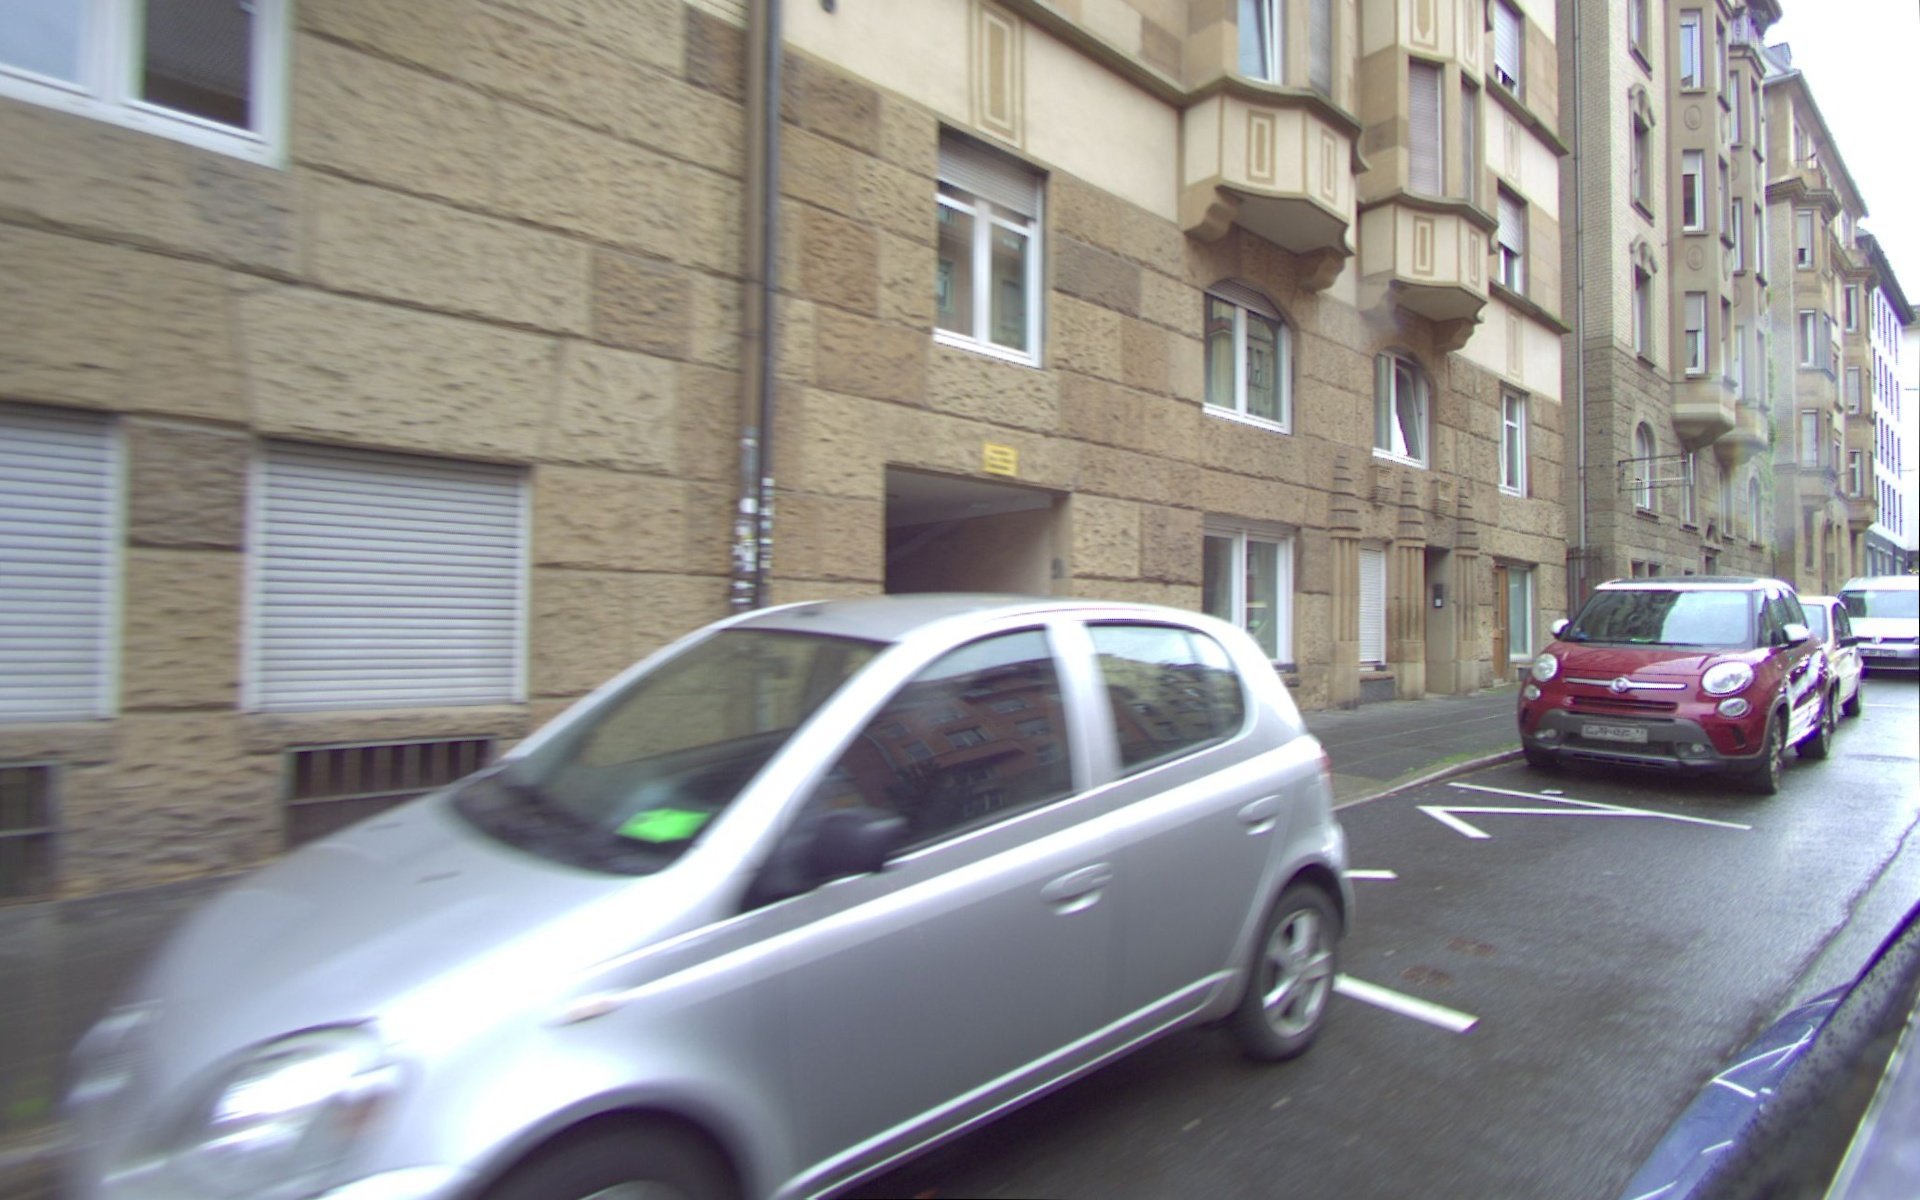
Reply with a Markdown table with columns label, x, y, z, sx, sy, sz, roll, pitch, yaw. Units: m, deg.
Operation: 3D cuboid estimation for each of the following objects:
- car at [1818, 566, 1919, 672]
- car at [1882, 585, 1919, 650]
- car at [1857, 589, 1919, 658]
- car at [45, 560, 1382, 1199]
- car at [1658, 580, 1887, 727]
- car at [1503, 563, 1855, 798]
| label | x | y | z | sx | sy | sz | roll | pitch | yaw |
| --- | --- | --- | --- | --- | --- | --- | --- | --- | --- |
| car | 17.406 | 0.312 | 18.688 | 3.893 | 1.791 | 1.809 | -1 | 0 | -41 |
| car | 24.591 | 0.384 | 25.204 | 3.988 | 1.544 | 1.933 | -1 | -1 | -41 |
| car | 21.181 | 0.469 | 22.044 | 3.912 | 1.406 | 1.929 | -1 | -1 | -41 |
| car | -0.349 | 0.684 | 3.009 | 3.460 | 1.505 | 1.597 | 0 | 1 | -41 |
| car | 9.958 | 0.556 | 12.322 | 3.471 | 1.530 | 1.630 | -1 | -1 | -42 |
| car | 6.485 | 0.525 | 8.962 | 3.932 | 1.621 | 1.771 | -1 | 1 | -43 |
